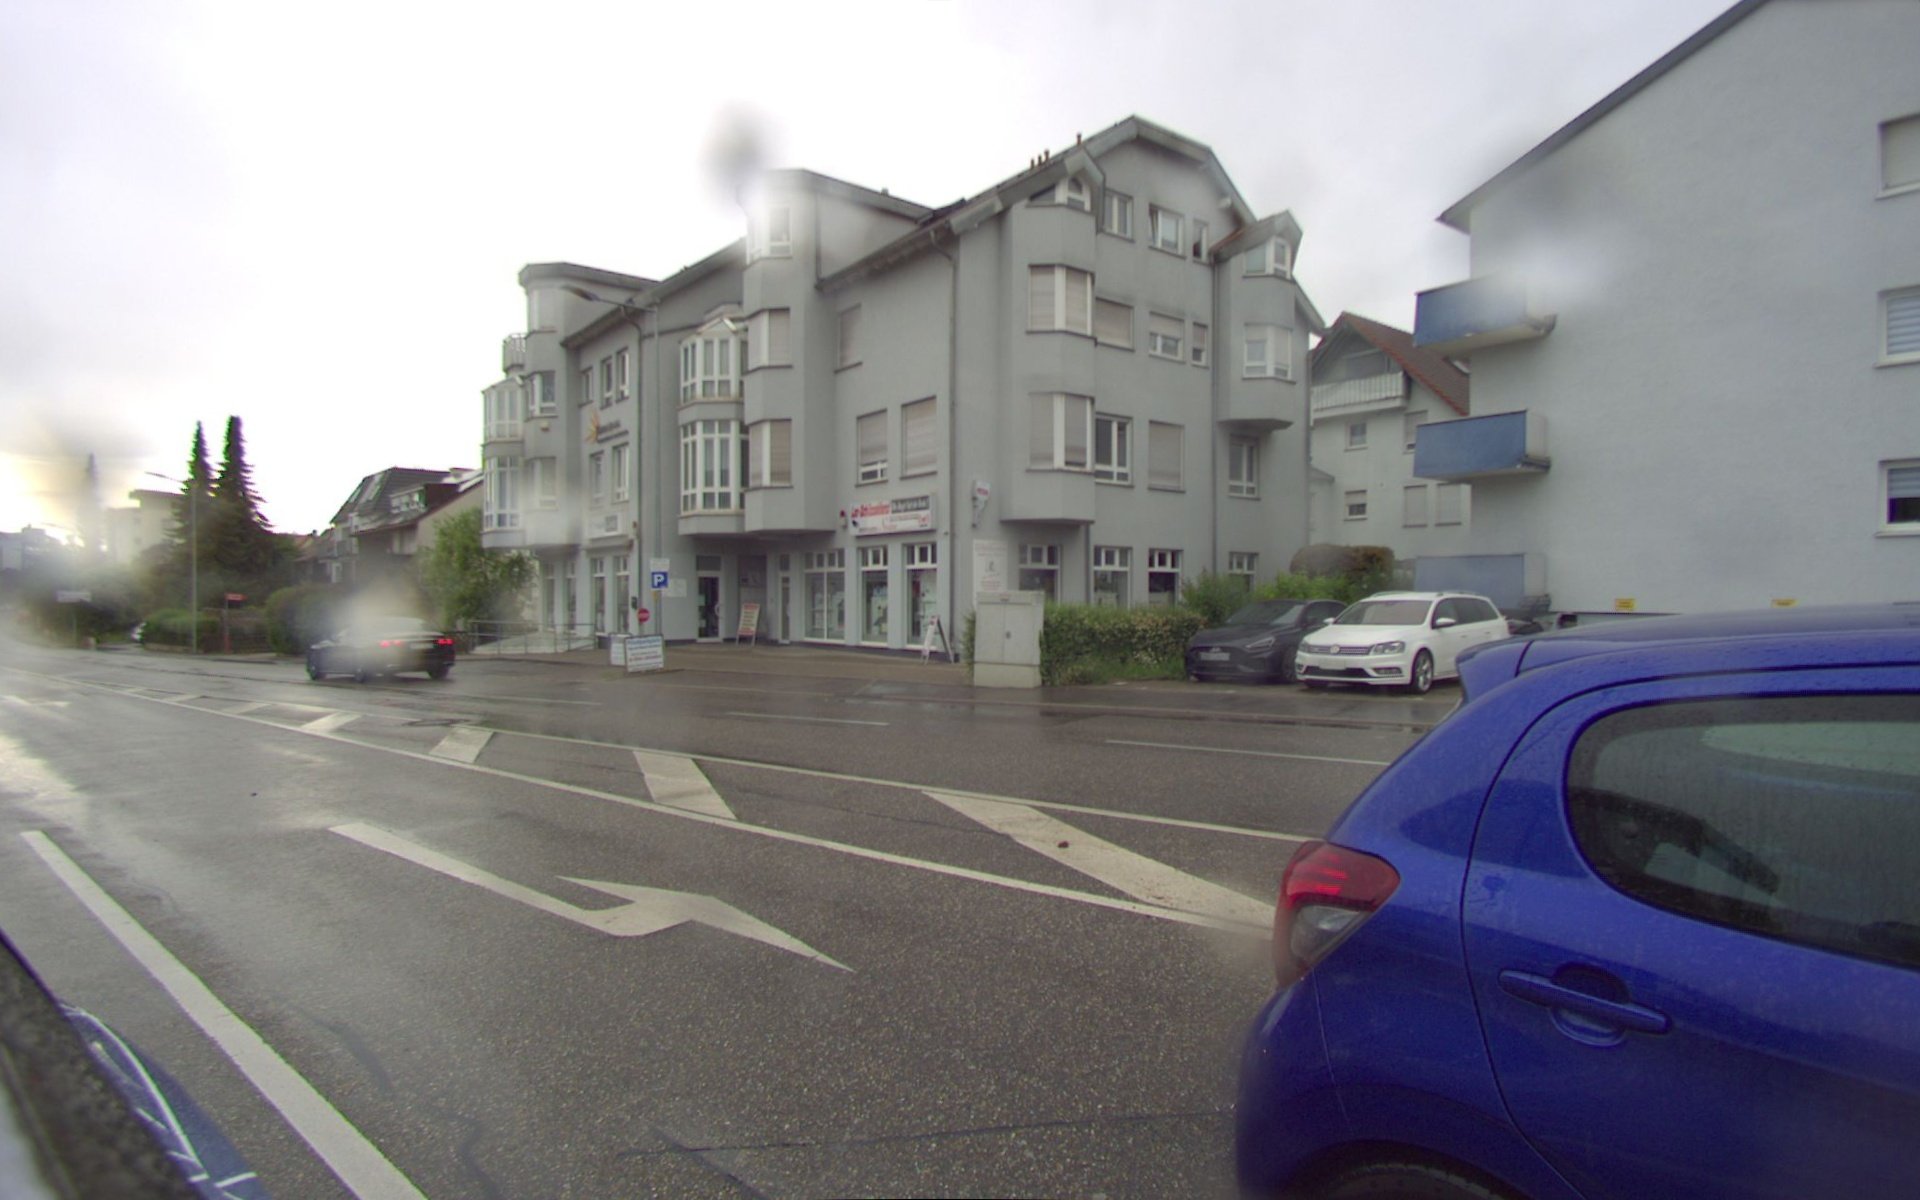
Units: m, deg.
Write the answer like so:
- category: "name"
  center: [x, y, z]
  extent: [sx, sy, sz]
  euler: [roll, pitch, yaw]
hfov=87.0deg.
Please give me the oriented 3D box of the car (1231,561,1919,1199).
- category: "car"
  center: [2.234, 0.637, 1.209]
  extent: [3.362, 1.423, 1.489]
  euler: [-2, -1, 41]

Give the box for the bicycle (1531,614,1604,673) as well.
- category: "bicycle"
  center: [11.140, 0.793, 18.575]
  extent: [1.065, 1.061, 0.343]
  euler: [-2, -1, 41]

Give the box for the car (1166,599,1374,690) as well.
- category: "car"
  center: [5.490, 0.691, 17.663]
  extent: [1.851, 1.366, 3.941]
  euler: [-1, 0, 45]

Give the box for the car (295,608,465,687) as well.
- category: "car"
  center: [-13.668, 1.038, 23.766]
  extent: [4.534, 1.637, 1.974]
  euler: [-1, 0, 39]

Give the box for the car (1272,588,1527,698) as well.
- category: "car"
  center: [6.979, 0.605, 15.818]
  extent: [4.685, 1.471, 1.883]
  euler: [0, -2, -42]
